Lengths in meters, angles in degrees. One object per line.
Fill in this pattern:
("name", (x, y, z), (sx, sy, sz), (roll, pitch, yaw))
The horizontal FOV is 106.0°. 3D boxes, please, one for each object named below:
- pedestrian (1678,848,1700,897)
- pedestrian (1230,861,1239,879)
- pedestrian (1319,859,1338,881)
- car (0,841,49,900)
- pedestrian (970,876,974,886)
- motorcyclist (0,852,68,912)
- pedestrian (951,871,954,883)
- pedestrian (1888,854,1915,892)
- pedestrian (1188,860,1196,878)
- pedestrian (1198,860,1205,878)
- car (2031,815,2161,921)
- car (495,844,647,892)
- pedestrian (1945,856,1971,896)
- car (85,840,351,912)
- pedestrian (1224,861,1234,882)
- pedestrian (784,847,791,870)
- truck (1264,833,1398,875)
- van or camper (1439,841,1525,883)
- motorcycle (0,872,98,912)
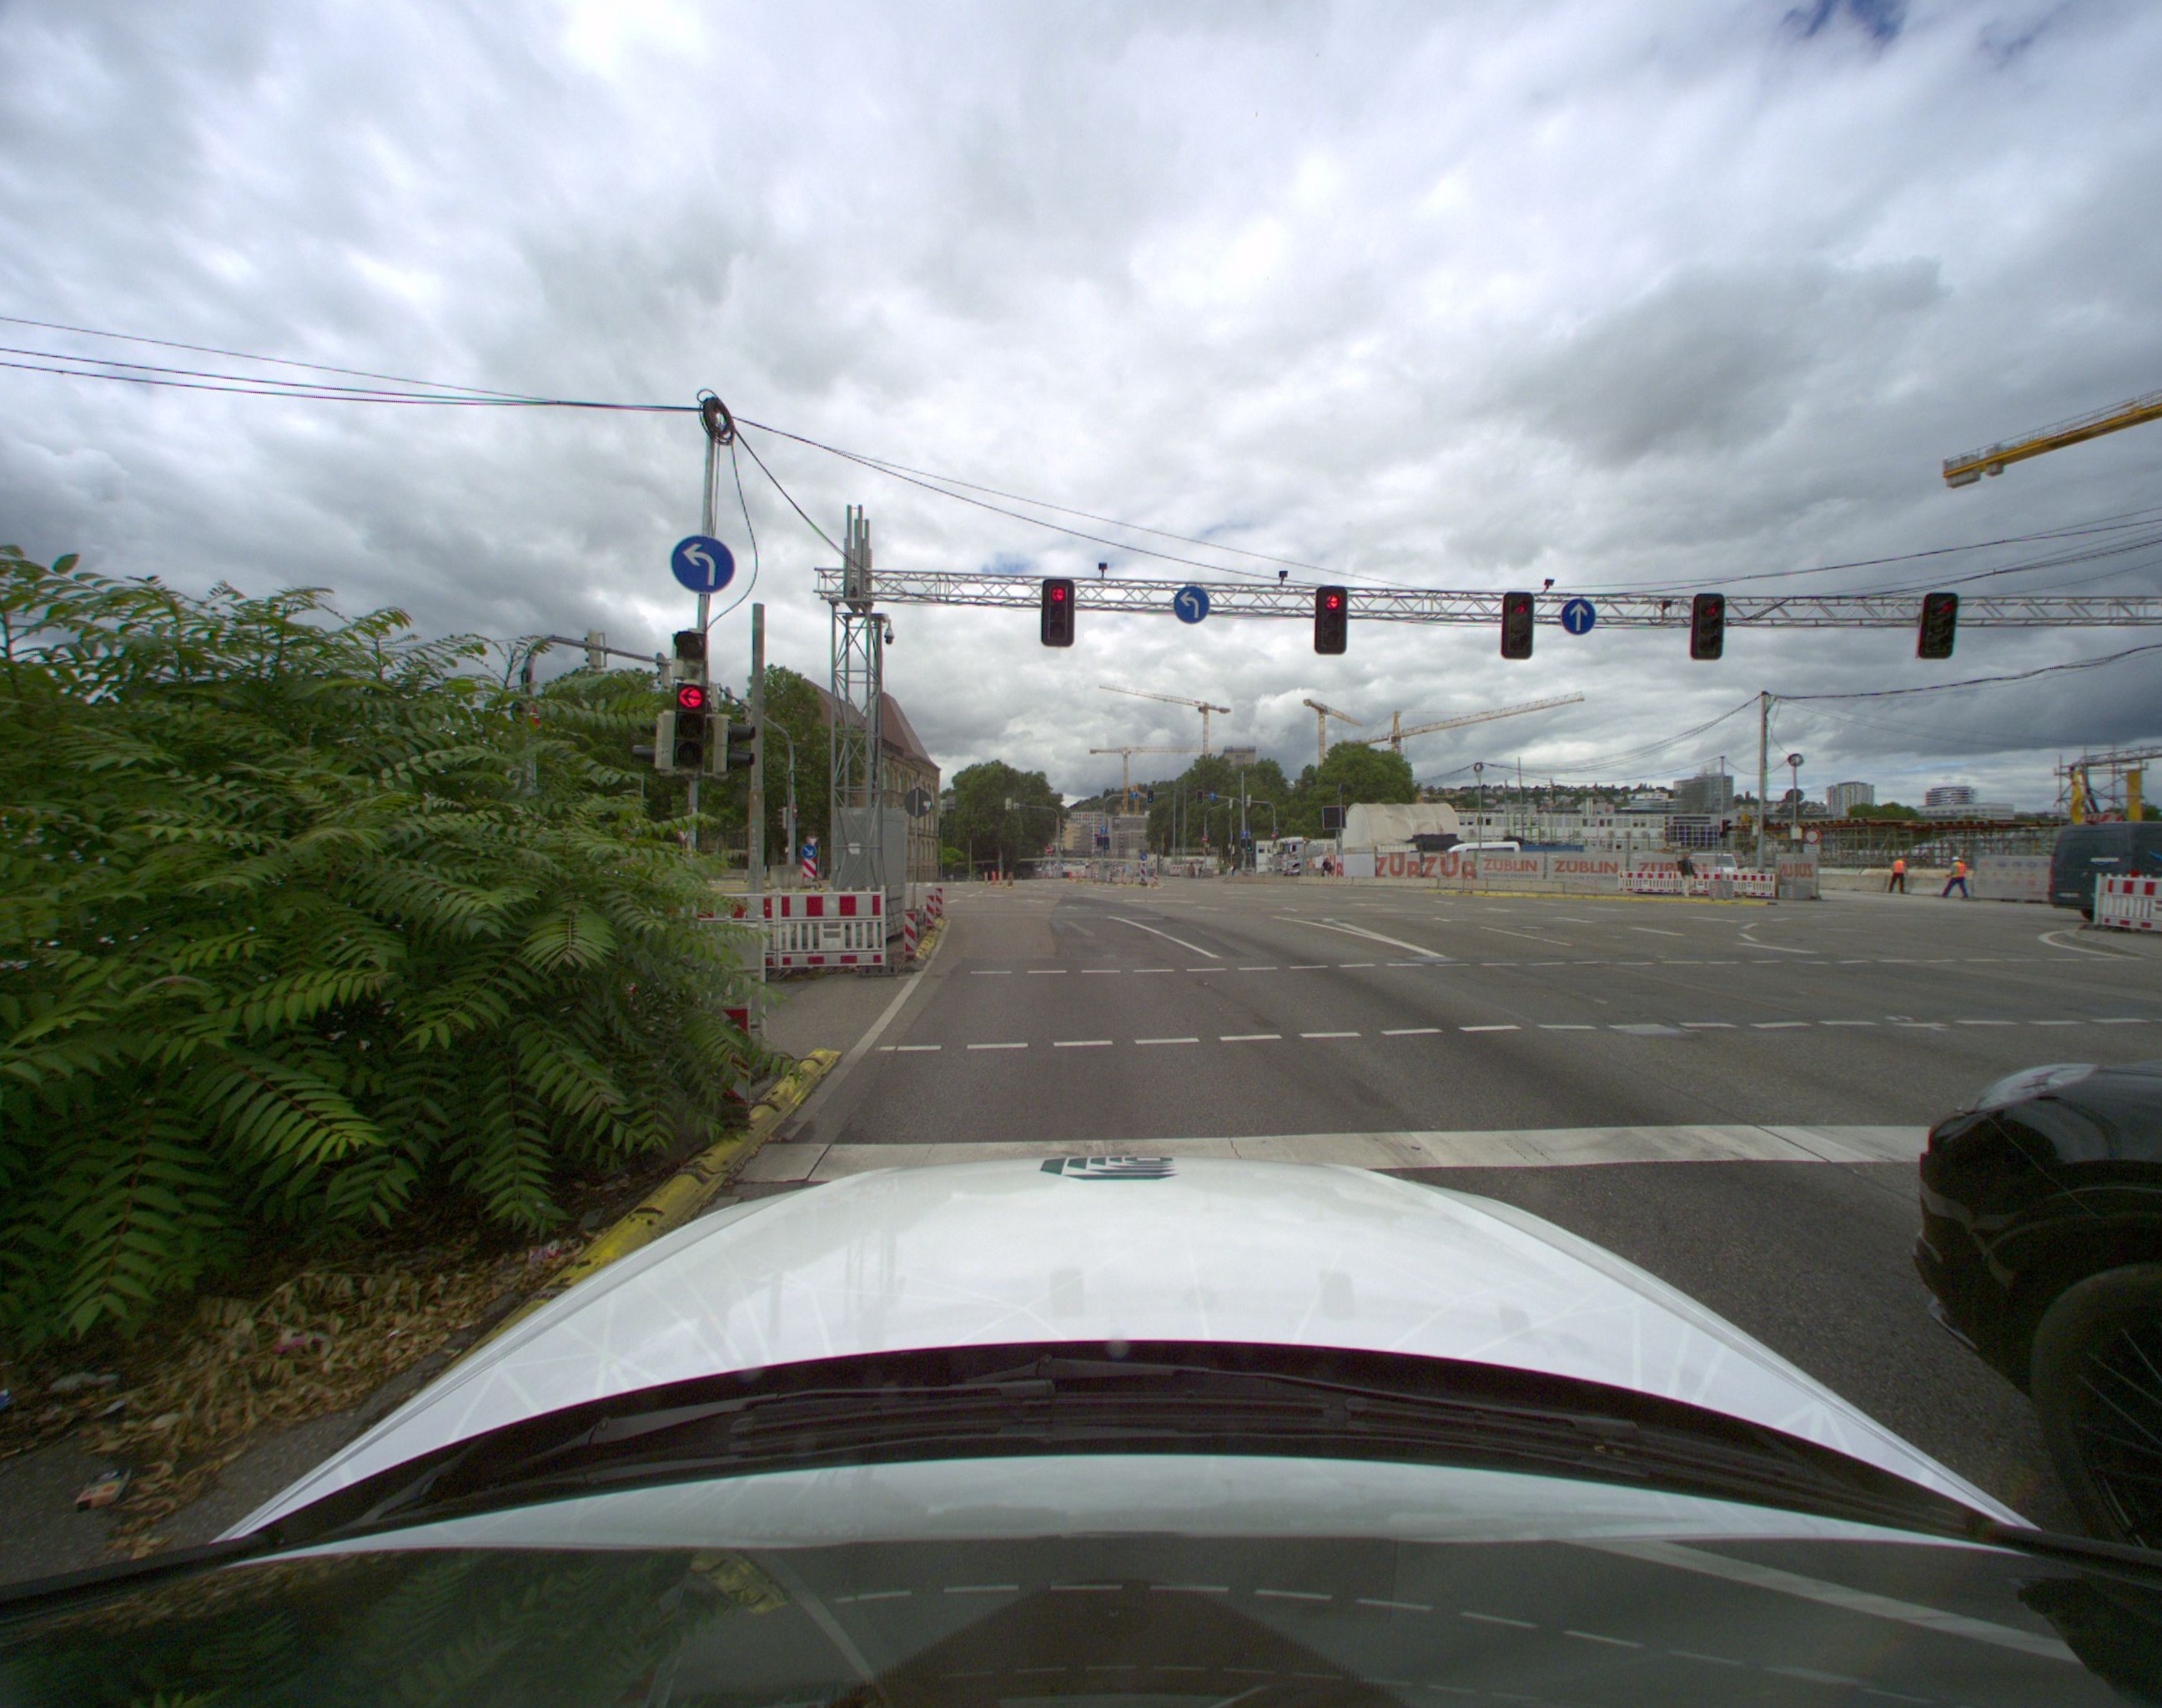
("pedestrian", (25.408, 0.761, 34.060), (0.645, 2.013, 0.520), (0, 0, 27))
("pedestrian", (14.919, 1.566, 79.030), (0.615, 1.689, 0.716), (0, 0, 31))
("pedestrian", (15.766, 1.040, 51.871), (0.798, 1.378, 0.900), (0, 0, -15))
("car", (-33.185, 0.467, 23.402), (4.302, 1.676, 1.998), (0, 0, -3))
("pedestrian", (-21.312, 5.240, 159.227), (0.522, 2.014, 0.567), (0, 0, 2))
("motorcyclist", (-25.621, 0.670, 19.807), (0.963, 1.423, 0.745), (0, 0, -4))
("pedestrian", (-21.035, 3.752, 133.317), (0.522, 2.014, 0.567), (0, 0, 2))
("pedestrian", (38.931, 0.901, 38.634), (0.651, 1.795, 0.617), (0, 0, -7))
("pedestrian", (10.605, 1.407, 77.916), (0.726, 1.689, 0.678), (0, 0, 1))
("pedestrian", (11.553, 1.405, 78.035), (0.564, 1.689, 0.472), (0, 0, 1))
("car", (28.608, 0.347, 20.703), (5.961, 2.594, 2.068), (0, 0, 7))
("car", (-18.821, 0.498, 30.259), (4.315, 1.676, 1.992), (0, 0, -12))
("pedestrian", (37.992, 0.942, 35.279), (0.651, 1.717, 0.516), (0, 0, -9))
("car", (-21.299, 0.523, 20.263), (4.302, 1.676, 1.998), (0, 0, -3))
("pedestrian", (12.255, 1.443, 67.415), (0.726, 1.689, 0.678), (0, 0, 1))
("pedestrian", (-26.727, 0.414, 74.134), (0.530, 2.014, 0.423), (1, -1, -42))
("truck", (25.041, -0.030, 81.594), (13.062, 4.041, 3.926), (0, 0, -18))
("van or camper", (23.151, 0.421, 47.207), (4.181, 2.357, 2.009), (0, 0, 16))
("motorcycle", (-25.475, 0.919, 19.822), (2.051, 0.924, 0.756), (0, 0, -4))
